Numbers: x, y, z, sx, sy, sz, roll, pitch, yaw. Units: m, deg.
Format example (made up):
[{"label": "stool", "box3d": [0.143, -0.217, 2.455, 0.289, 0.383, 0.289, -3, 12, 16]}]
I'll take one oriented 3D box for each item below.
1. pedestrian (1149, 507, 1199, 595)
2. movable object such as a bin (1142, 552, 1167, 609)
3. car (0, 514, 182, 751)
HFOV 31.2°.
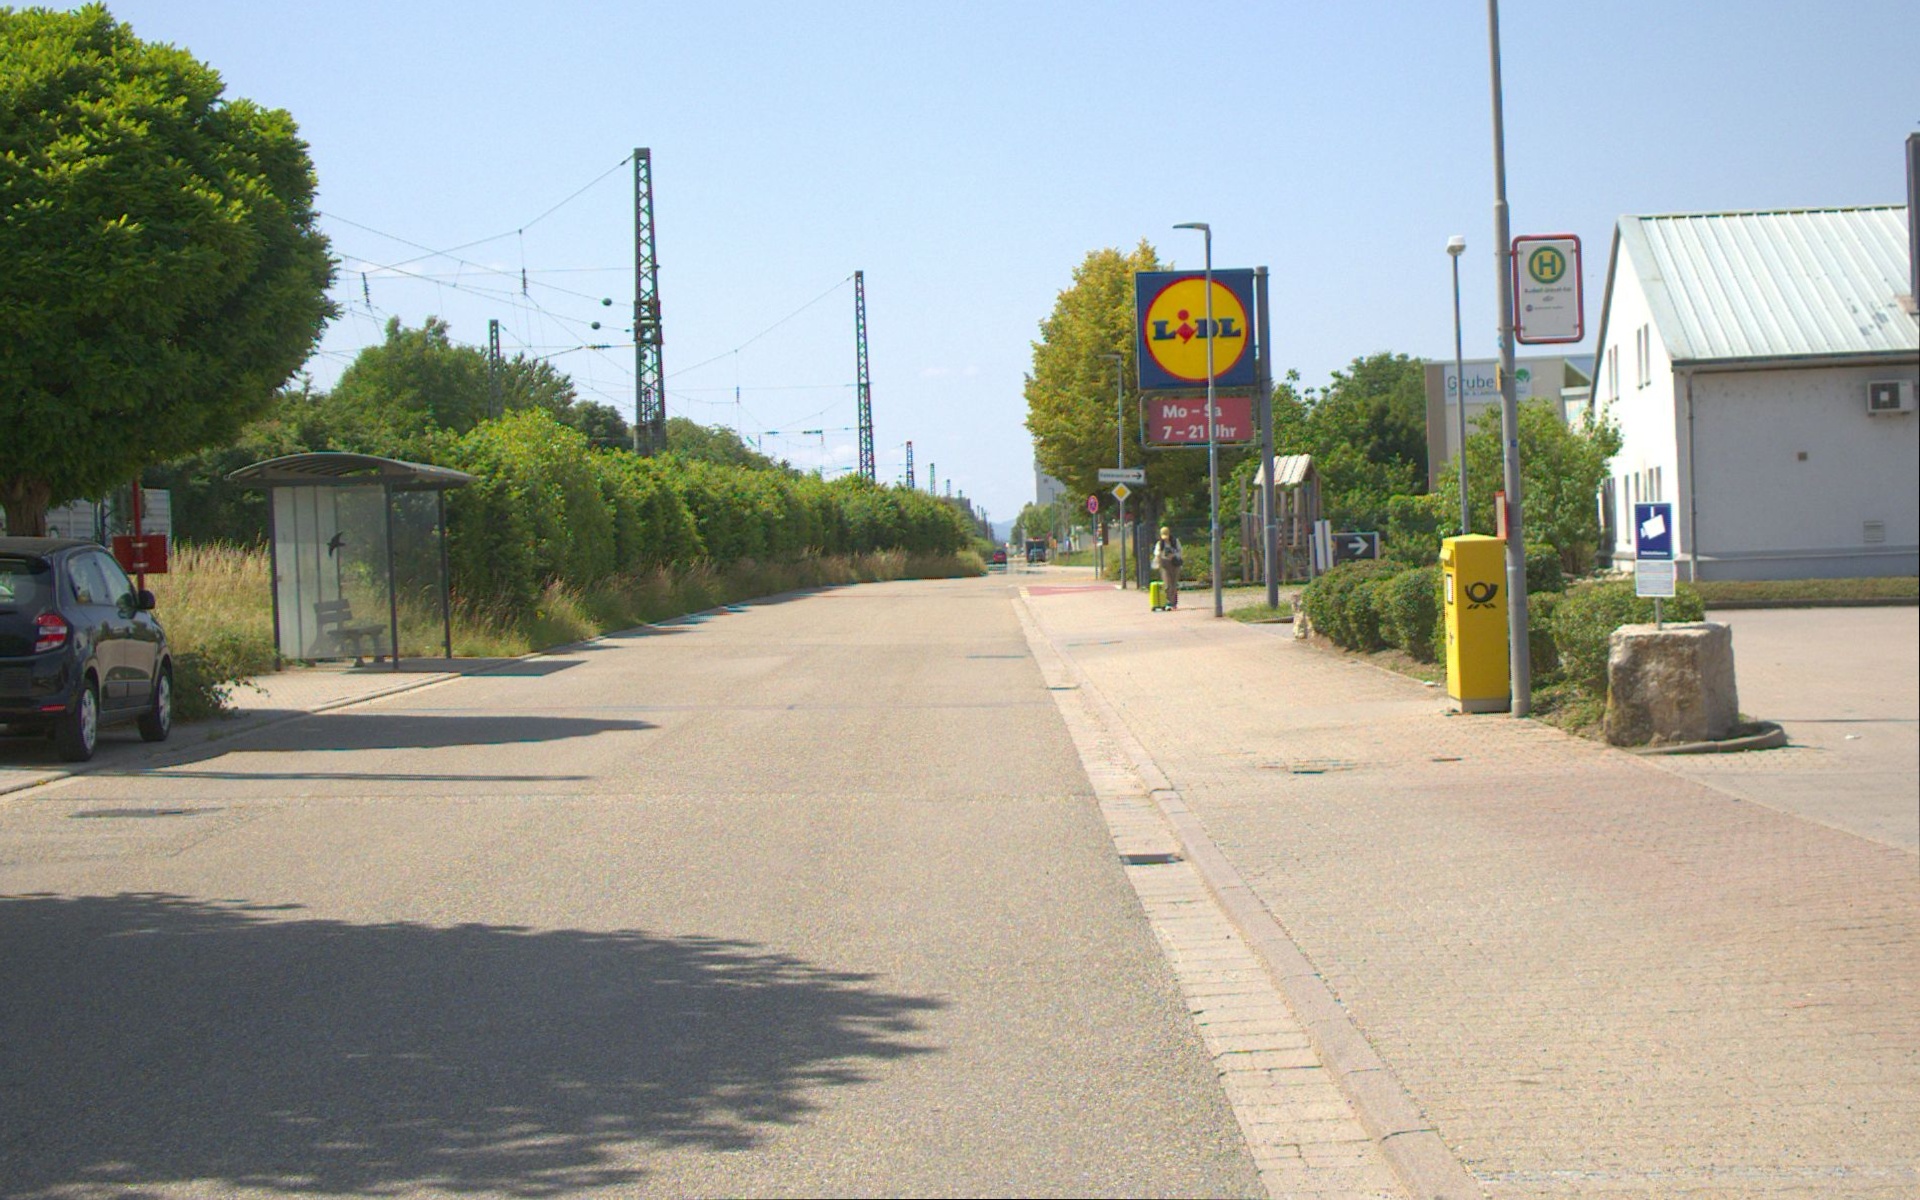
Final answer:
[{"label": "pedestrian", "box3d": [3.987, -0.917, 64.173, 0.761, 1.596, 1.210, -2, 1, -2]}, {"label": "movable object such as a bin", "box3d": [3.605, -0.360, 63.649, 0.374, 1.026, 0.499, -3, 1, -3]}, {"label": "car", "box3d": [-6.907, 0.189, 25.016, 1.741, 1.590, 3.580, -1, 1, -2]}]
